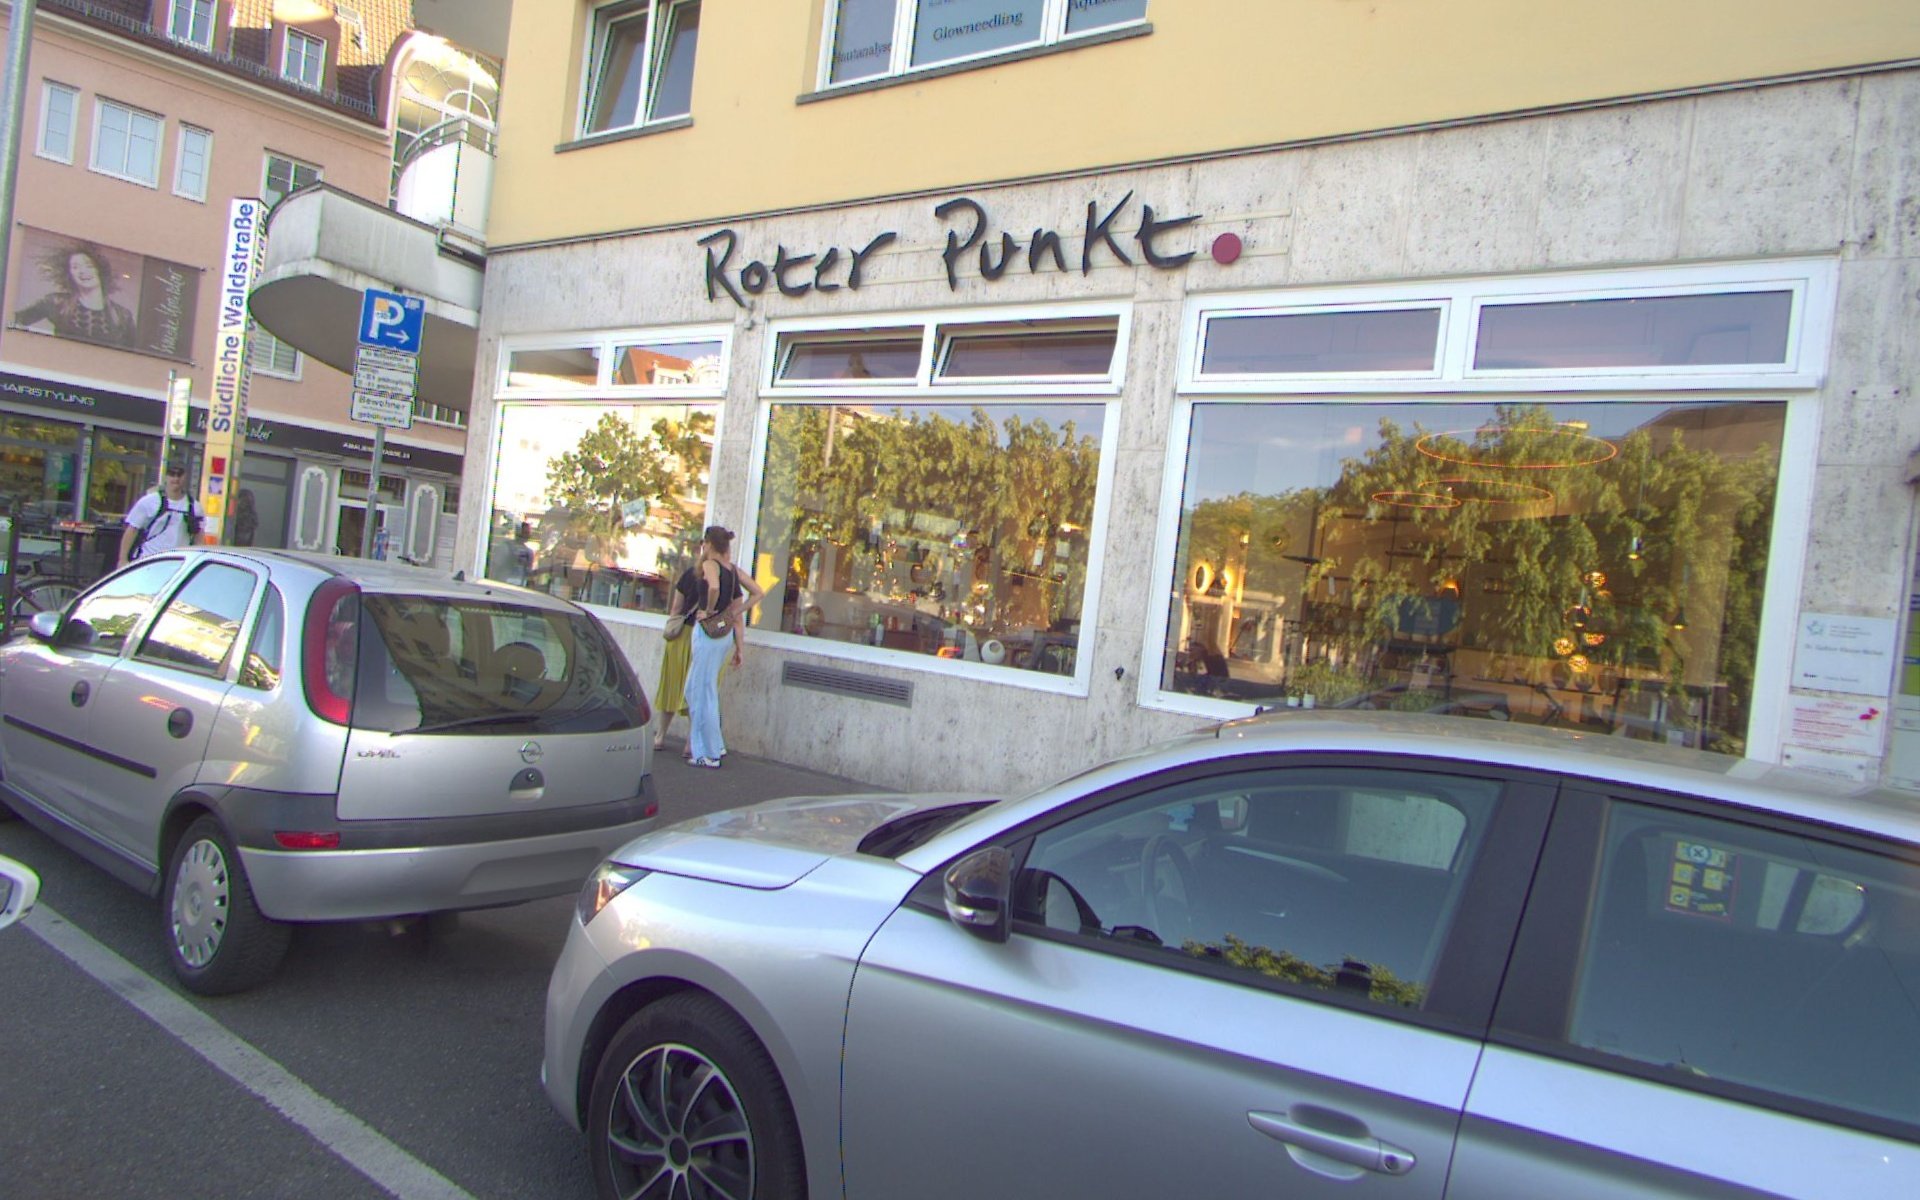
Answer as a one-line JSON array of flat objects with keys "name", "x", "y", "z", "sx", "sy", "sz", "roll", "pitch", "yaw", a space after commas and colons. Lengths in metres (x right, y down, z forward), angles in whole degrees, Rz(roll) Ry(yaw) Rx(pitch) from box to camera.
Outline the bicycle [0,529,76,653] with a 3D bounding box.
[{"name": "bicycle", "x": -9.066, "y": -0.153, "z": 8.807, "sx": 0.642, "sy": 1.072, "sz": 1.816, "roll": 7, "pitch": -1, "yaw": 33}]

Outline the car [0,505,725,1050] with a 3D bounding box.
[{"name": "car", "x": -2.966, "y": 0.481, "z": 4.470, "sx": 3.520, "sy": 1.443, "sz": 1.587, "roll": 6, "pitch": -2, "yaw": 32}]

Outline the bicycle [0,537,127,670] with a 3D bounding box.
[{"name": "bicycle", "x": -8.175, "y": 0.000, "z": 8.263, "sx": 0.642, "sy": 1.057, "sz": 1.884, "roll": 7, "pitch": 0, "yaw": 33}]

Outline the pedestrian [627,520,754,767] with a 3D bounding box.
[{"name": "pedestrian", "x": -2.078, "y": 0.322, "z": 7.848, "sx": 0.711, "sy": 1.777, "sz": 0.786, "roll": 5, "pitch": 2, "yaw": -6}]

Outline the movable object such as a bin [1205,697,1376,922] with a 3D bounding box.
[{"name": "movable object such as a bin", "x": 1.815, "y": 1.094, "z": 5.486, "sx": 0.639, "sy": 1.035, "sz": 0.738, "roll": 6, "pitch": -1, "yaw": 31}]

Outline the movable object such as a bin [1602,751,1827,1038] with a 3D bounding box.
[{"name": "movable object such as a bin", "x": 3.363, "y": 1.263, "z": 4.556, "sx": 0.639, "sy": 1.035, "sz": 0.738, "roll": 6, "pitch": -1, "yaw": 31}]

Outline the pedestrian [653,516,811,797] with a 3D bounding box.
[{"name": "pedestrian", "x": -1.624, "y": 0.392, "z": 7.277, "sx": 0.877, "sy": 1.874, "sz": 0.682, "roll": 5, "pitch": 2, "yaw": -3}]

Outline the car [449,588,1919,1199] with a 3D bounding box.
[{"name": "car", "x": 0.770, "y": 0.941, "z": 2.291, "sx": 3.624, "sy": 1.453, "sz": 1.587, "roll": 6, "pitch": -2, "yaw": 30}]

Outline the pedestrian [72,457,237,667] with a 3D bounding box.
[{"name": "pedestrian", "x": -7.659, "y": -0.358, "z": 9.573, "sx": 0.967, "sy": 1.844, "sz": 0.809, "roll": 6, "pitch": -1, "yaw": 35}]

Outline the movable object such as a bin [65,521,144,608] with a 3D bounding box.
[{"name": "movable object such as a bin", "x": -11.966, "y": -0.492, "z": 14.074, "sx": 0.716, "sy": 1.117, "sz": 0.636, "roll": 7, "pitch": 2, "yaw": 35}]
